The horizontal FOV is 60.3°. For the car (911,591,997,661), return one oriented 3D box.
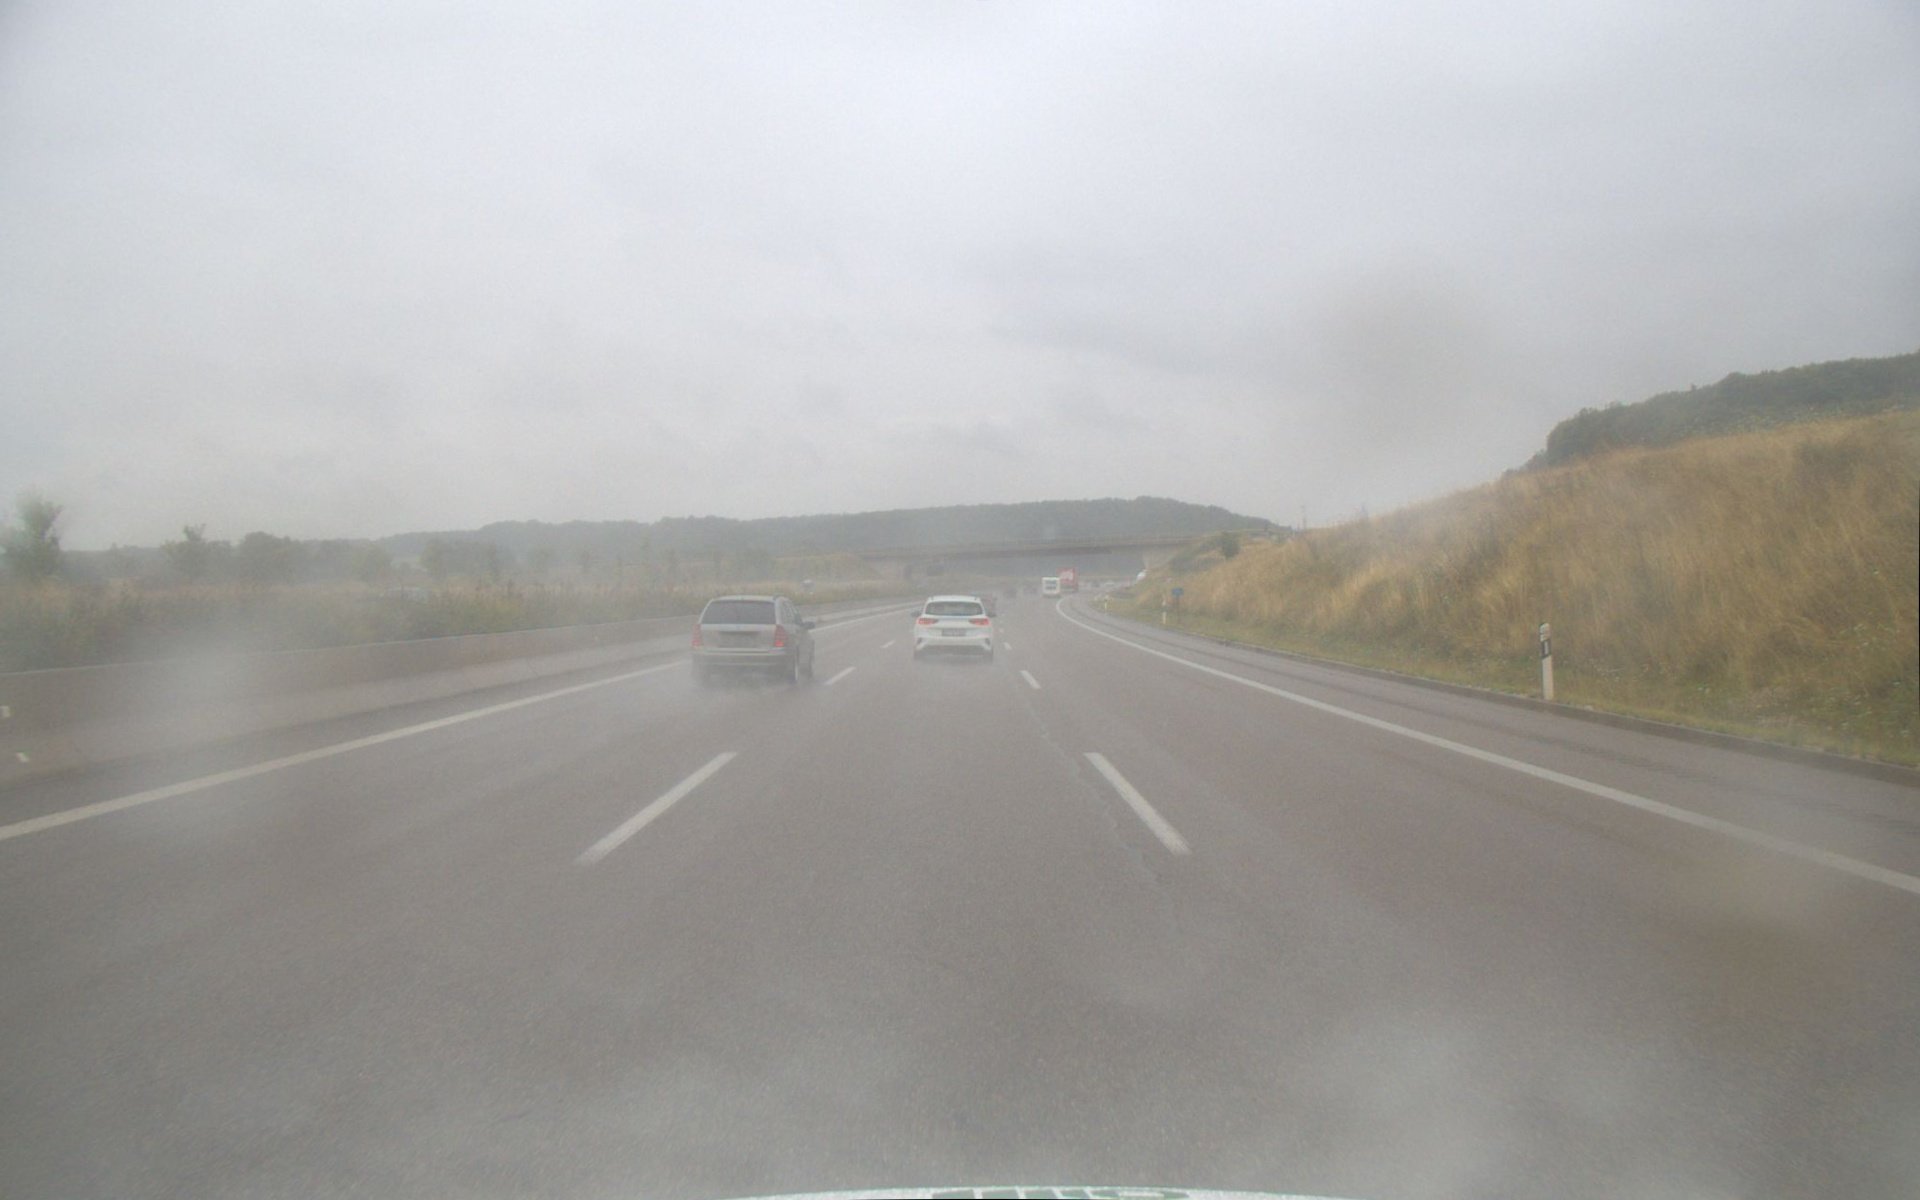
[{"bbox_3d":[-0.176,0.555,37.591,1.830,1.488,3.999,0,0,-1],"label":"car"}]

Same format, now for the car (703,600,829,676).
[{"bbox_3d":[-3.242,0.607,28.341,1.787,1.176,4.211,1,0,-2],"label":"car"}]

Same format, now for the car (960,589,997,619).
[{"bbox_3d":[1.070,0.206,94.330,1.952,1.646,4.001,0,1,2],"label":"car"}]

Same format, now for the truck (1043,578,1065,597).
[{"bbox_3d":[11.929,-1.602,209.172,2.356,2.291,4.697,0,1,8],"label":"truck"}]

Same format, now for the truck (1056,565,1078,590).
[{"bbox_3d":[17.197,-3.655,264.802,3.453,3.808,11.434,1,2,4],"label":"truck"}]
